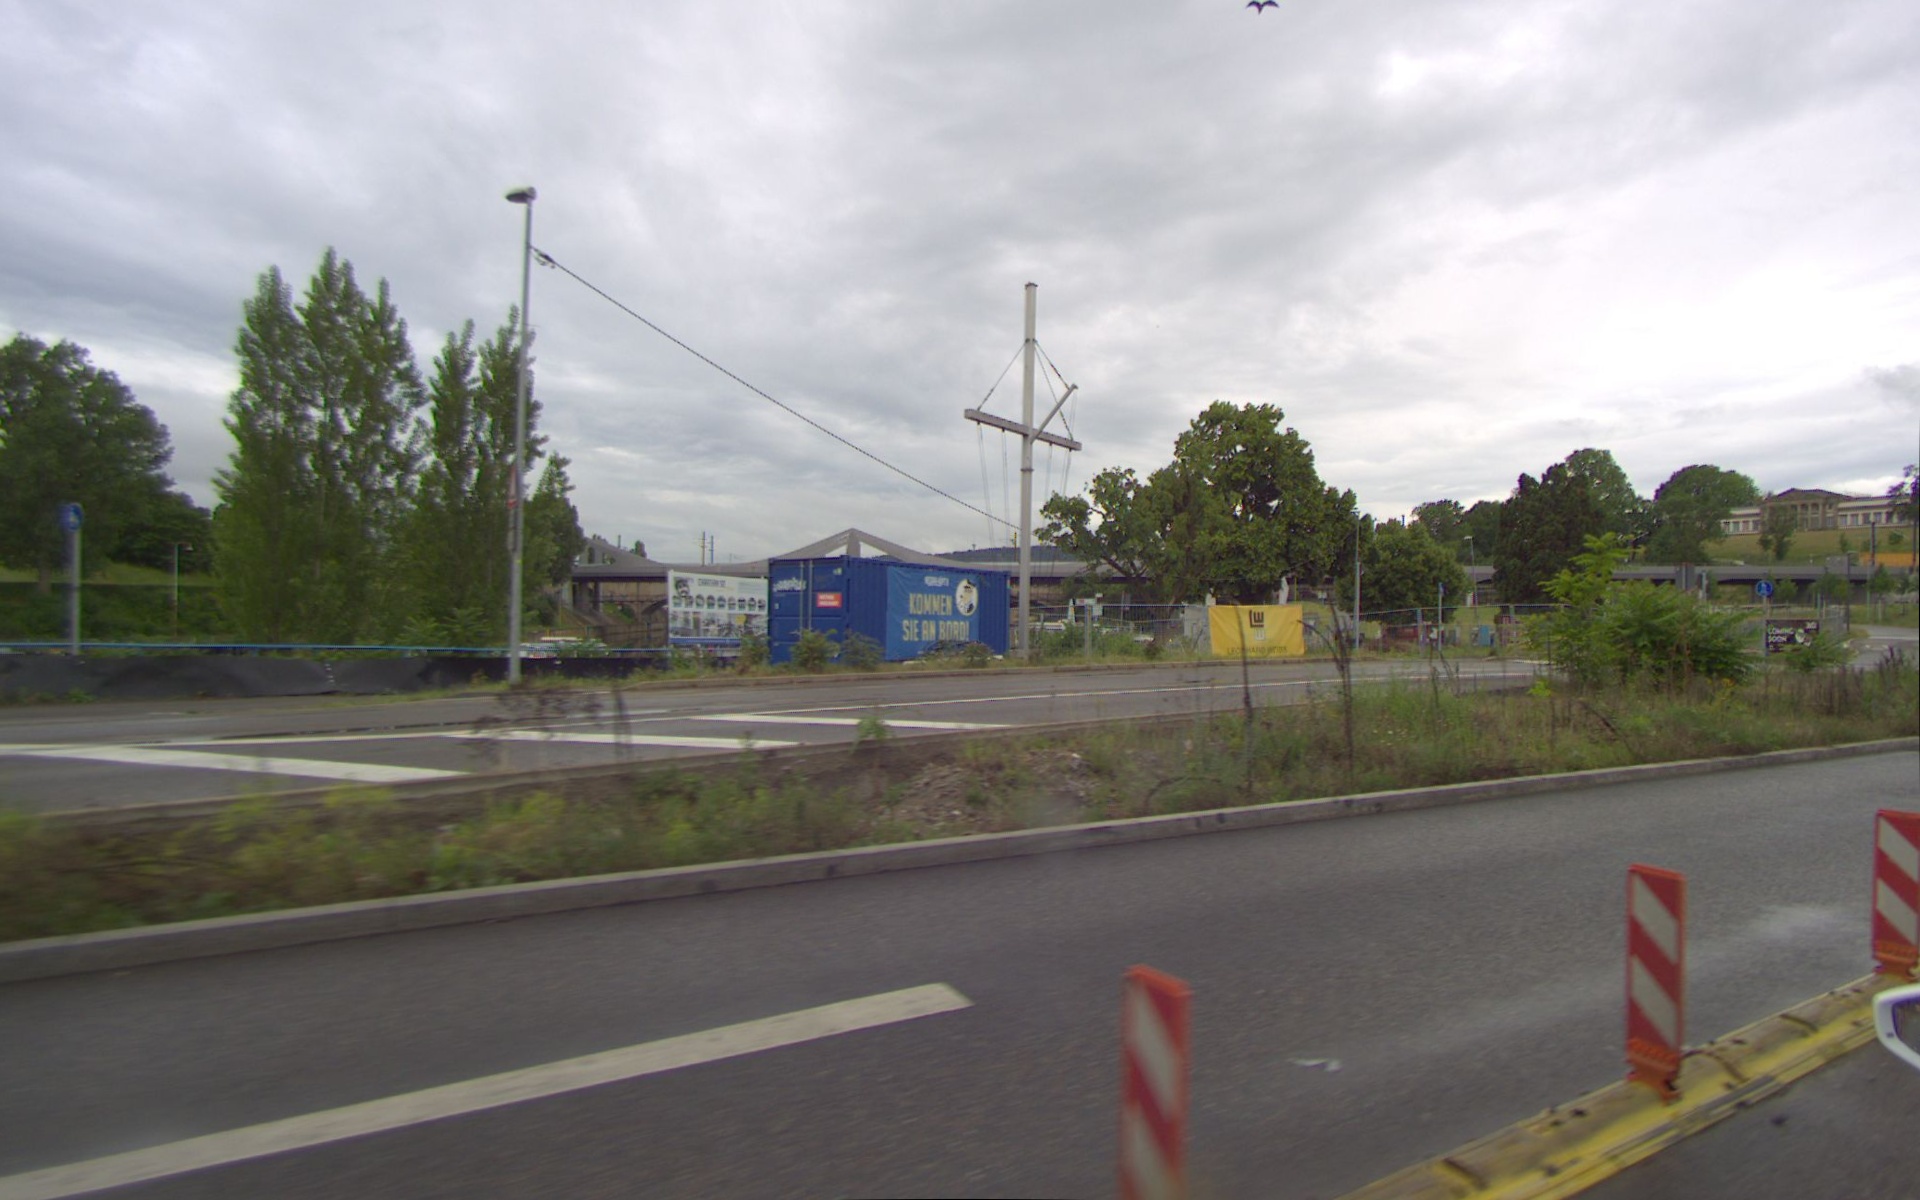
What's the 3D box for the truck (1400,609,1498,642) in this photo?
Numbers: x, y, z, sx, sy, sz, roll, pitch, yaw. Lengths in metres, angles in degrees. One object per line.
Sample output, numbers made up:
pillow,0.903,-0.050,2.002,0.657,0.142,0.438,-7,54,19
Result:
truck,44.223,2.258,91.046,7.807,2.840,2.423,0,0,22
